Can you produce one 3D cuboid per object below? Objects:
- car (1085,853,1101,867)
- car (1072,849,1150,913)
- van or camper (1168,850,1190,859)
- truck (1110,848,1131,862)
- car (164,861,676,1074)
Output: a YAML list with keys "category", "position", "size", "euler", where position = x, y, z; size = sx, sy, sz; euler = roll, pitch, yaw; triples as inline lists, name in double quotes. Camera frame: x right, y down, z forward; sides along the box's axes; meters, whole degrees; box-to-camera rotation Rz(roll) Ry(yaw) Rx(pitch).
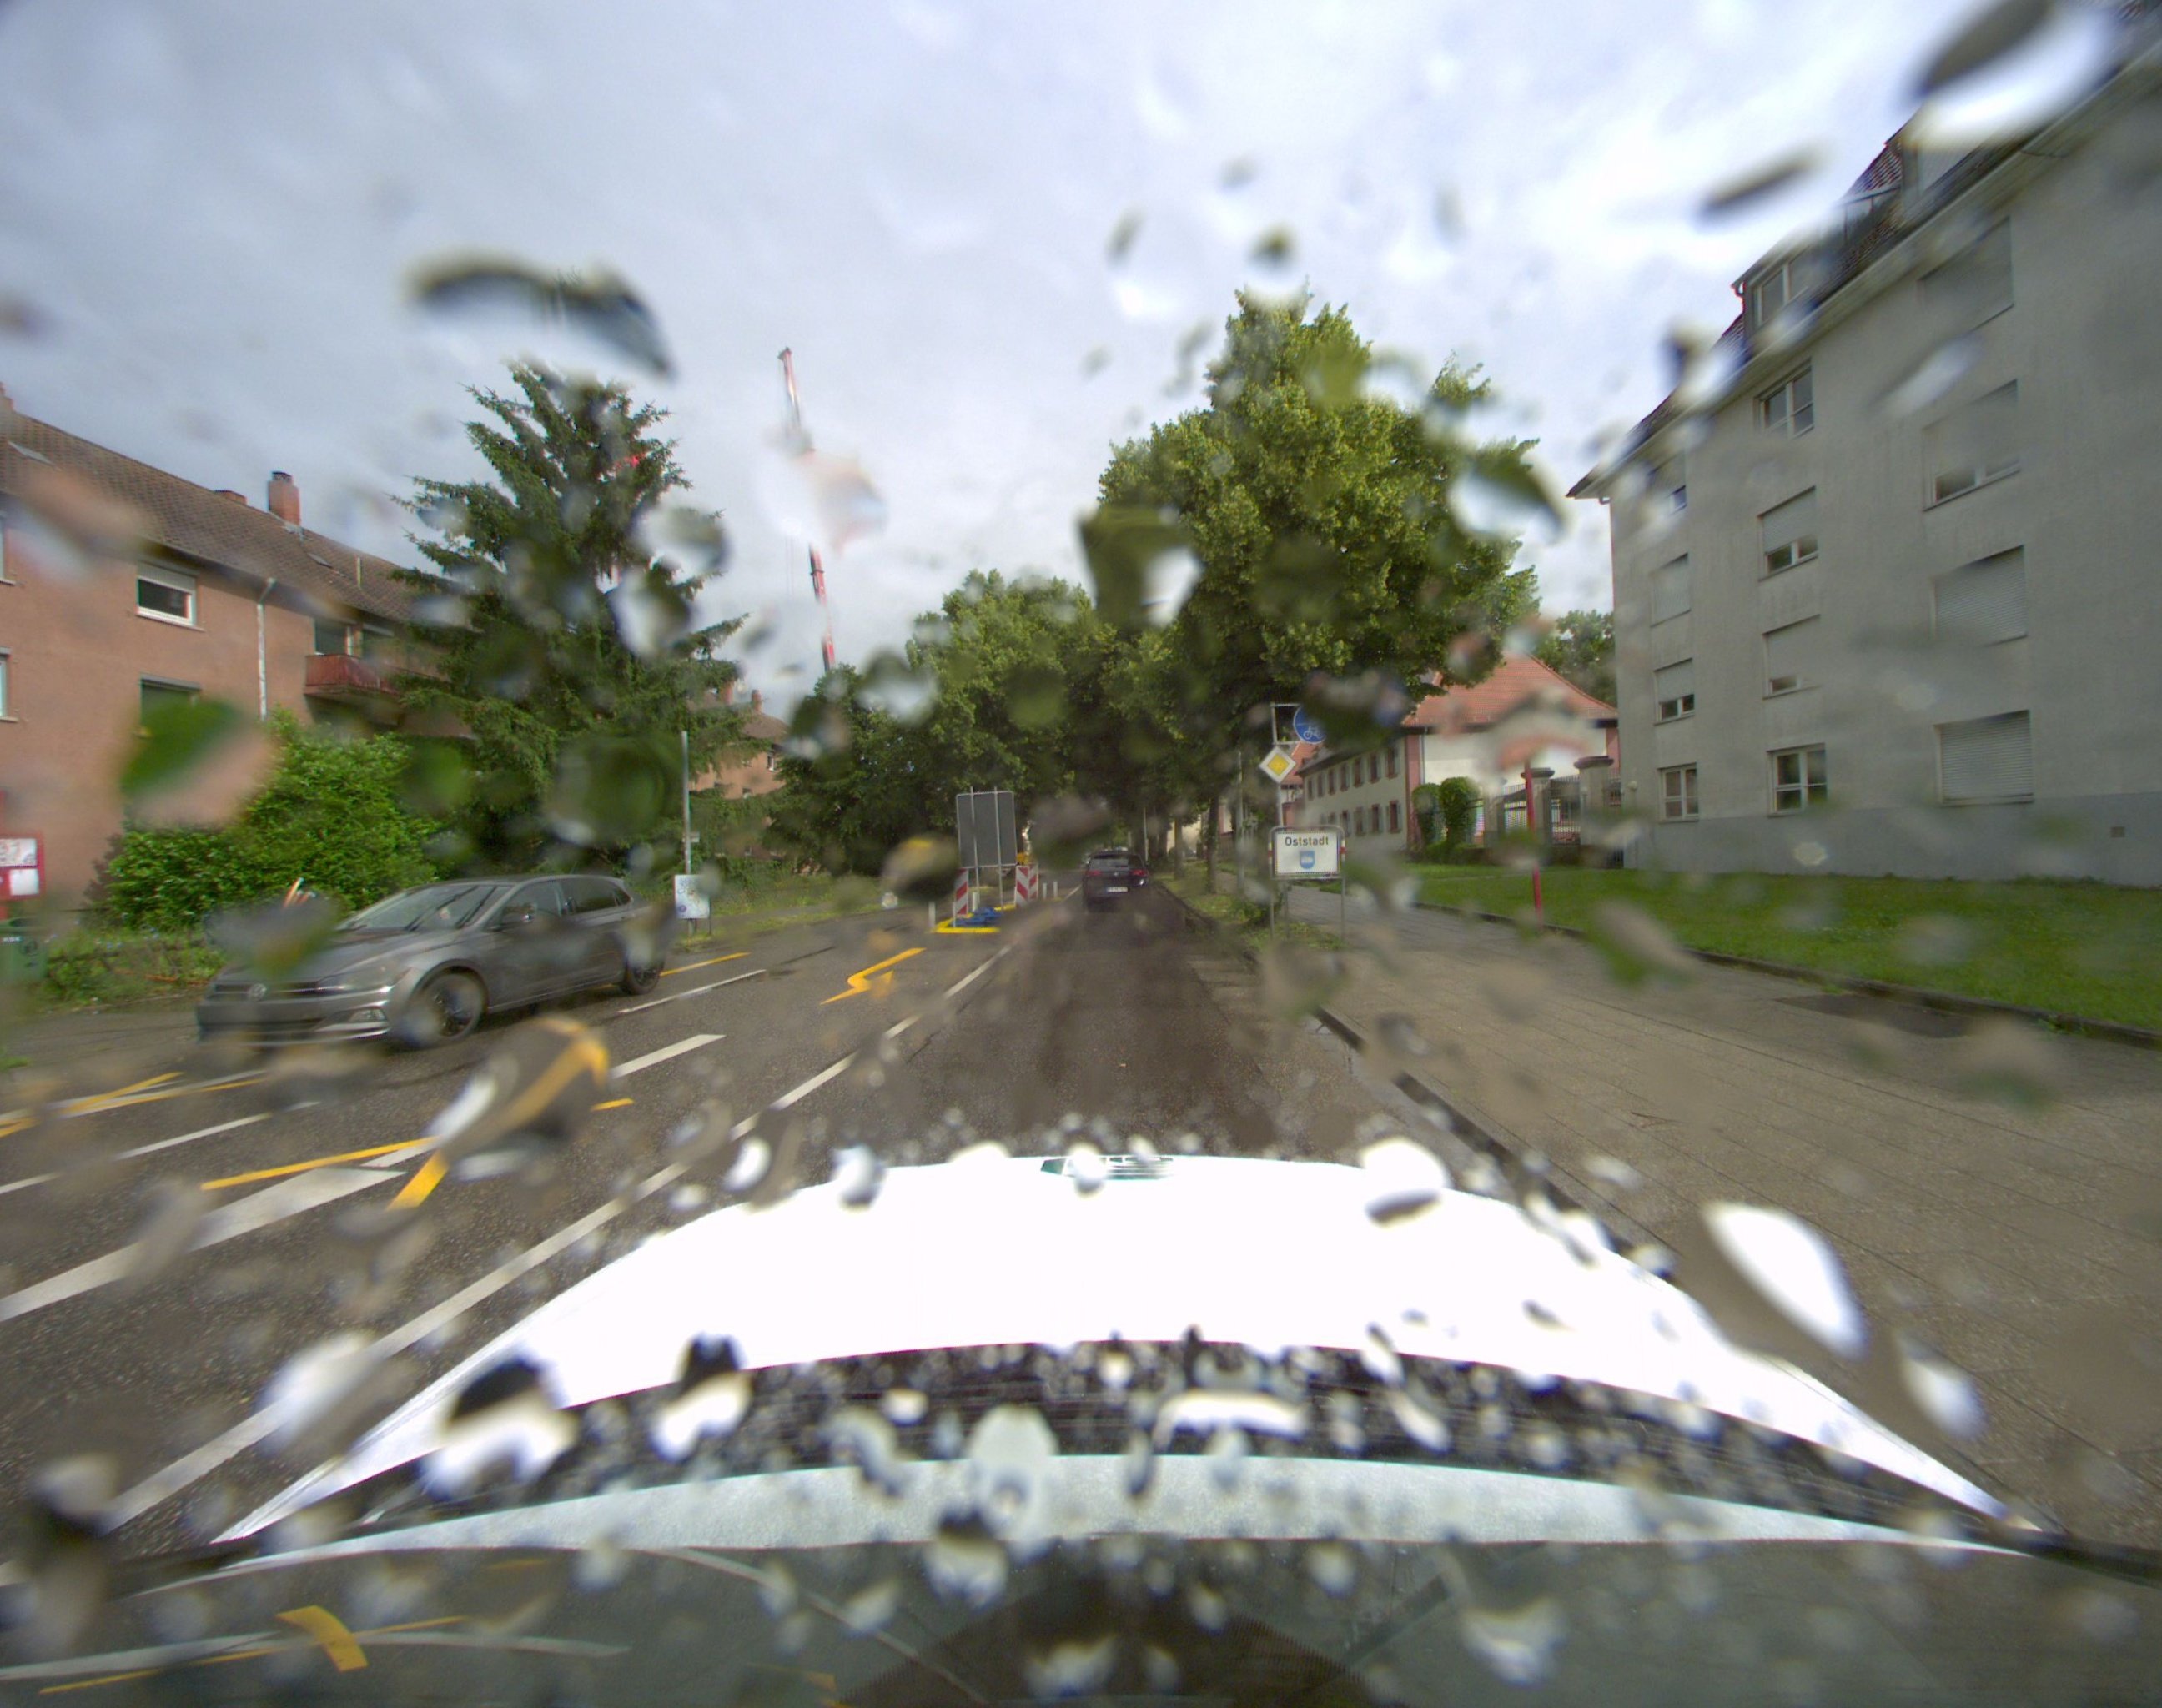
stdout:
- category: "car"
  position: [1.598, 0.720, 107.890]
  size: [1.879, 1.713, 4.233]
  euler: [-3, 0, 3]
- category: "car"
  position: [0.746, 0.677, 22.071]
  size: [1.889, 1.522, 3.999]
  euler: [-2, 0, 0]
- category: "van or camper"
  position: [22.107, 0.119, 184.268]
  size: [4.854, 1.925, 2.133]
  euler: [-2, 0, 3]
- category: "truck"
  position: [7.945, 0.226, 163.710]
  size: [2.803, 2.656, 8.219]
  euler: [-2, 0, -7]
- category: "car"
  position: [-5.950, 0.881, 8.032]
  size: [1.671, 1.508, 3.799]
  euler: [-2, 0, 5]
